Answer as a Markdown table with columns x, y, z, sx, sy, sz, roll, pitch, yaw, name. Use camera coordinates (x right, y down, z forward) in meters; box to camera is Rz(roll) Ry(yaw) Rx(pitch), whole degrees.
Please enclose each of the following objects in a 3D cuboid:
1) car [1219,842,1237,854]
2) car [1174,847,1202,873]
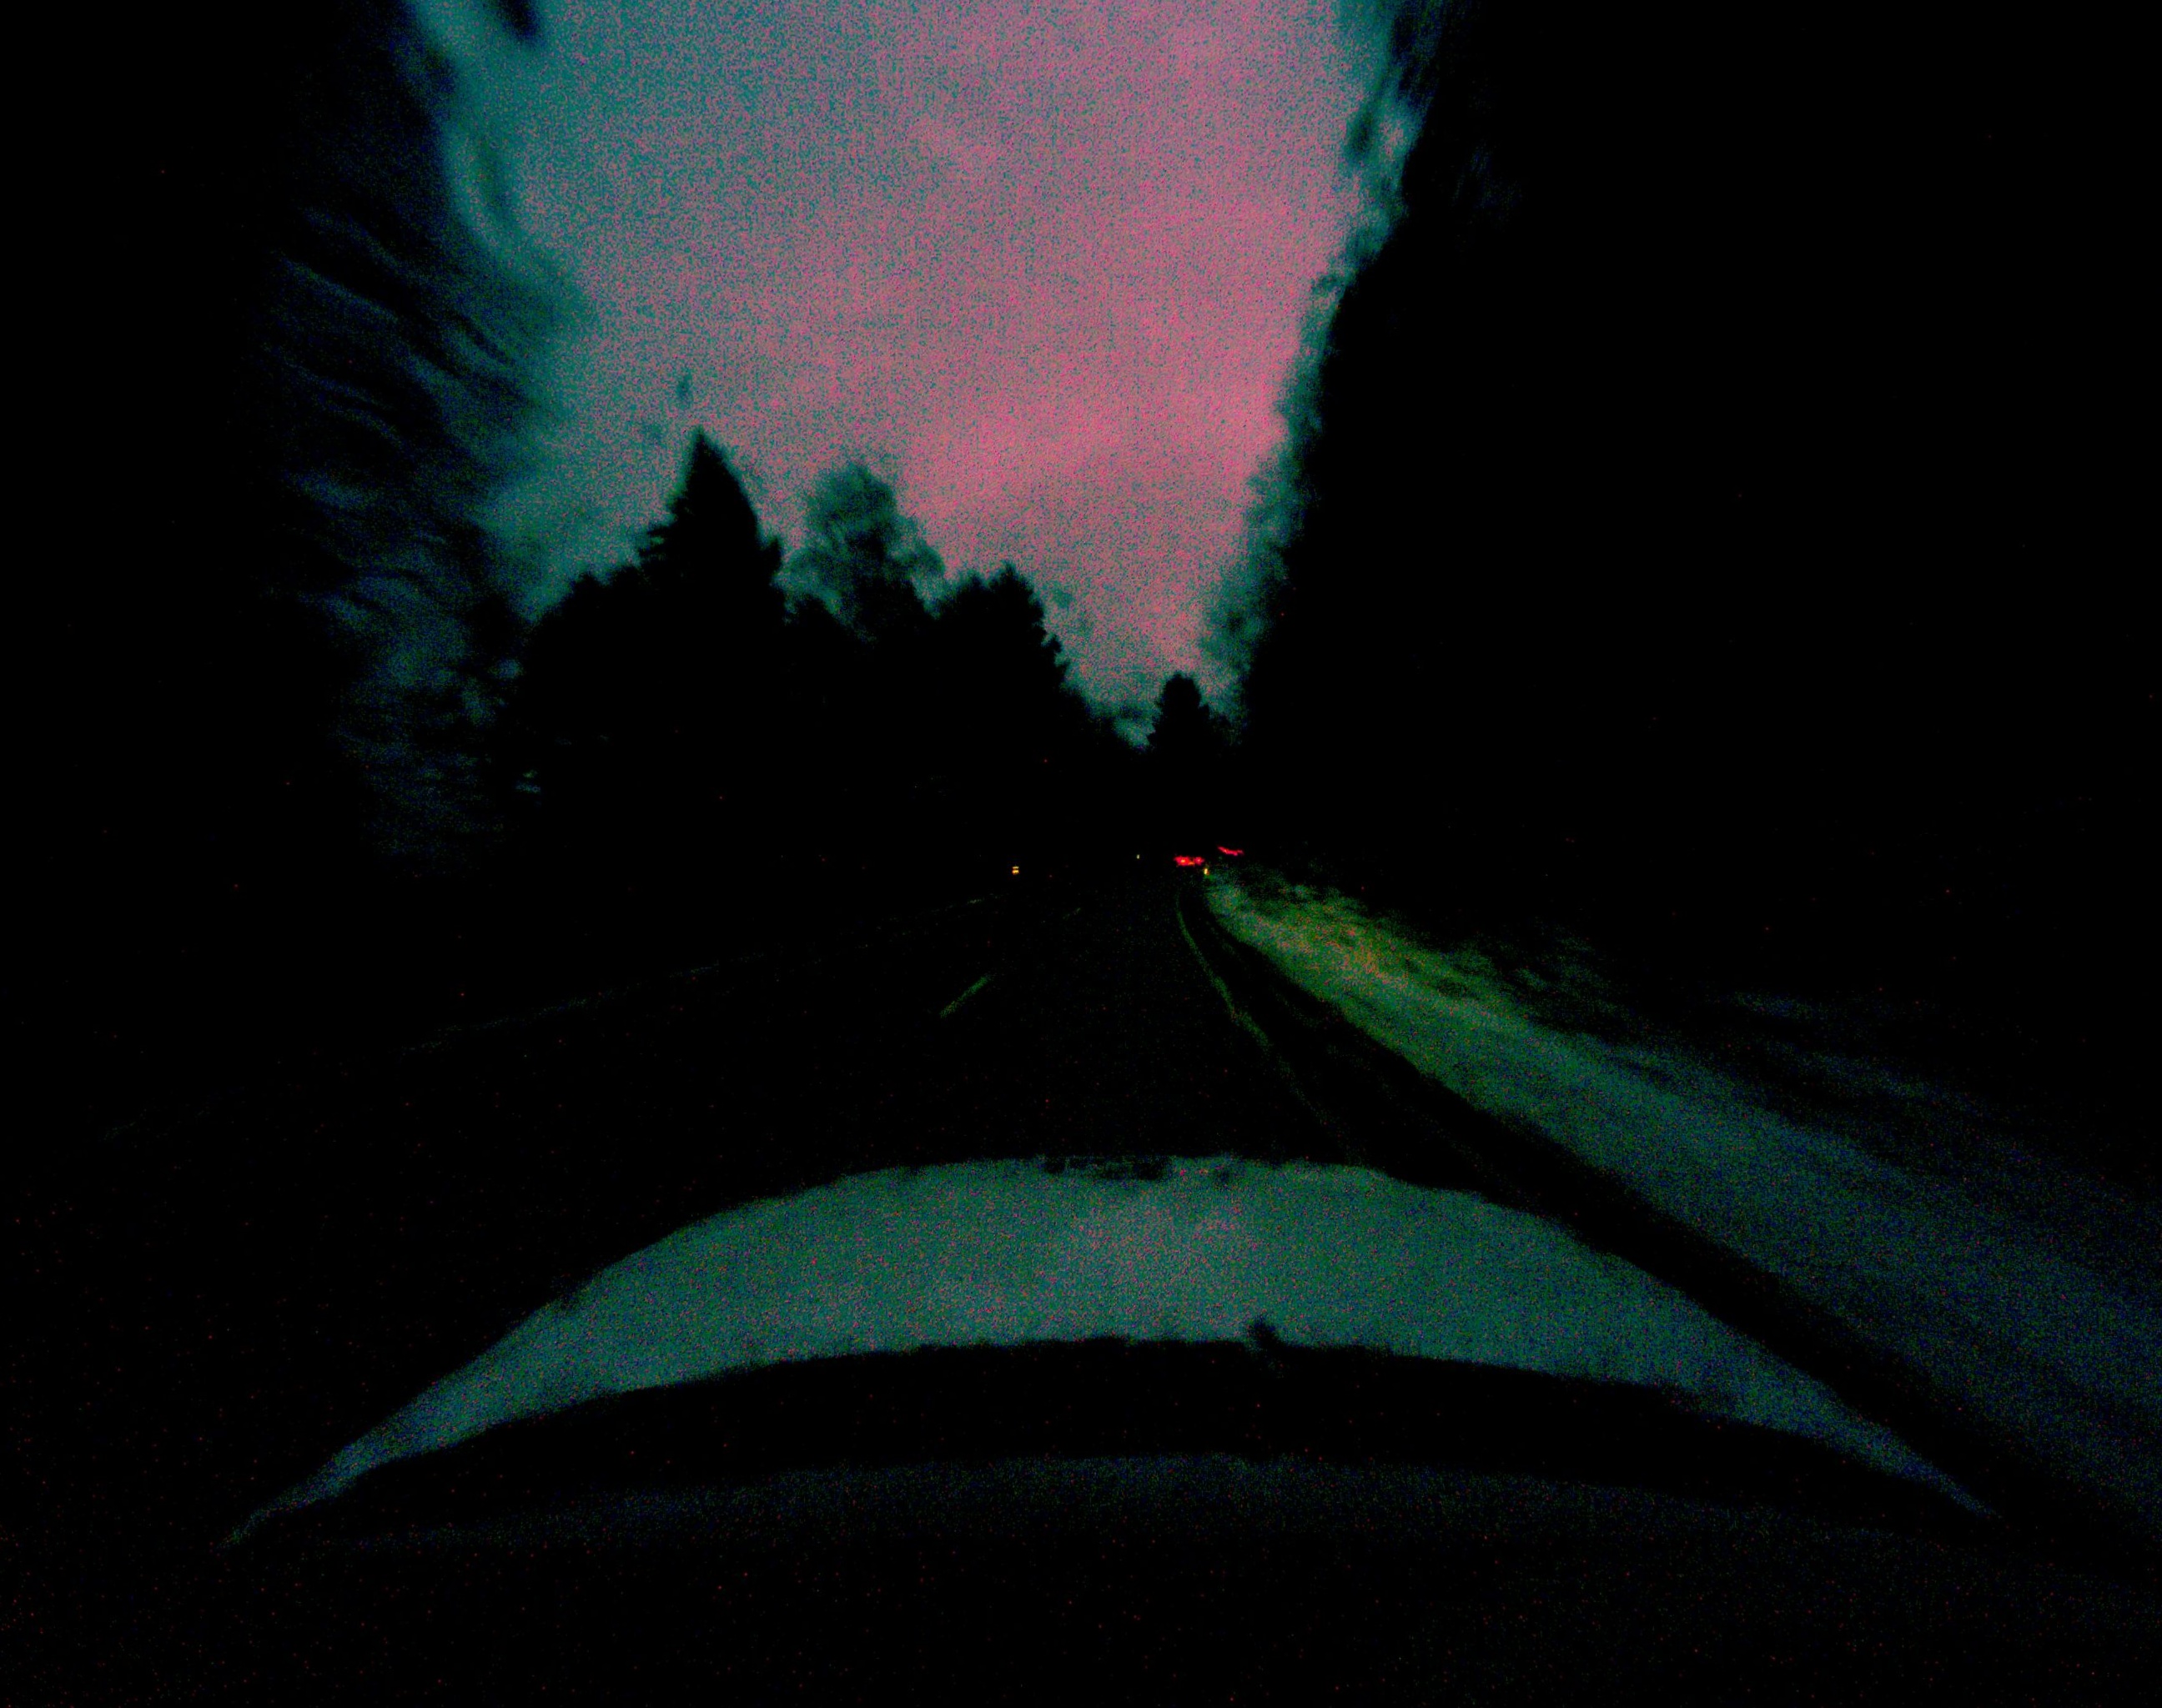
| x | y | z | sx | sy | sz | roll | pitch | yaw | name |
| --- | --- | --- | --- | --- | --- | --- | --- | --- | --- |
| 17.782 | -0.772 | 98.634 | 1.982 | 1.310 | 4.010 | -4 | 0 | 8 | car |
| 8.505 | 0.438 | 64.594 | 1.982 | 1.872 | 4.011 | -4 | 0 | 9 | car |
